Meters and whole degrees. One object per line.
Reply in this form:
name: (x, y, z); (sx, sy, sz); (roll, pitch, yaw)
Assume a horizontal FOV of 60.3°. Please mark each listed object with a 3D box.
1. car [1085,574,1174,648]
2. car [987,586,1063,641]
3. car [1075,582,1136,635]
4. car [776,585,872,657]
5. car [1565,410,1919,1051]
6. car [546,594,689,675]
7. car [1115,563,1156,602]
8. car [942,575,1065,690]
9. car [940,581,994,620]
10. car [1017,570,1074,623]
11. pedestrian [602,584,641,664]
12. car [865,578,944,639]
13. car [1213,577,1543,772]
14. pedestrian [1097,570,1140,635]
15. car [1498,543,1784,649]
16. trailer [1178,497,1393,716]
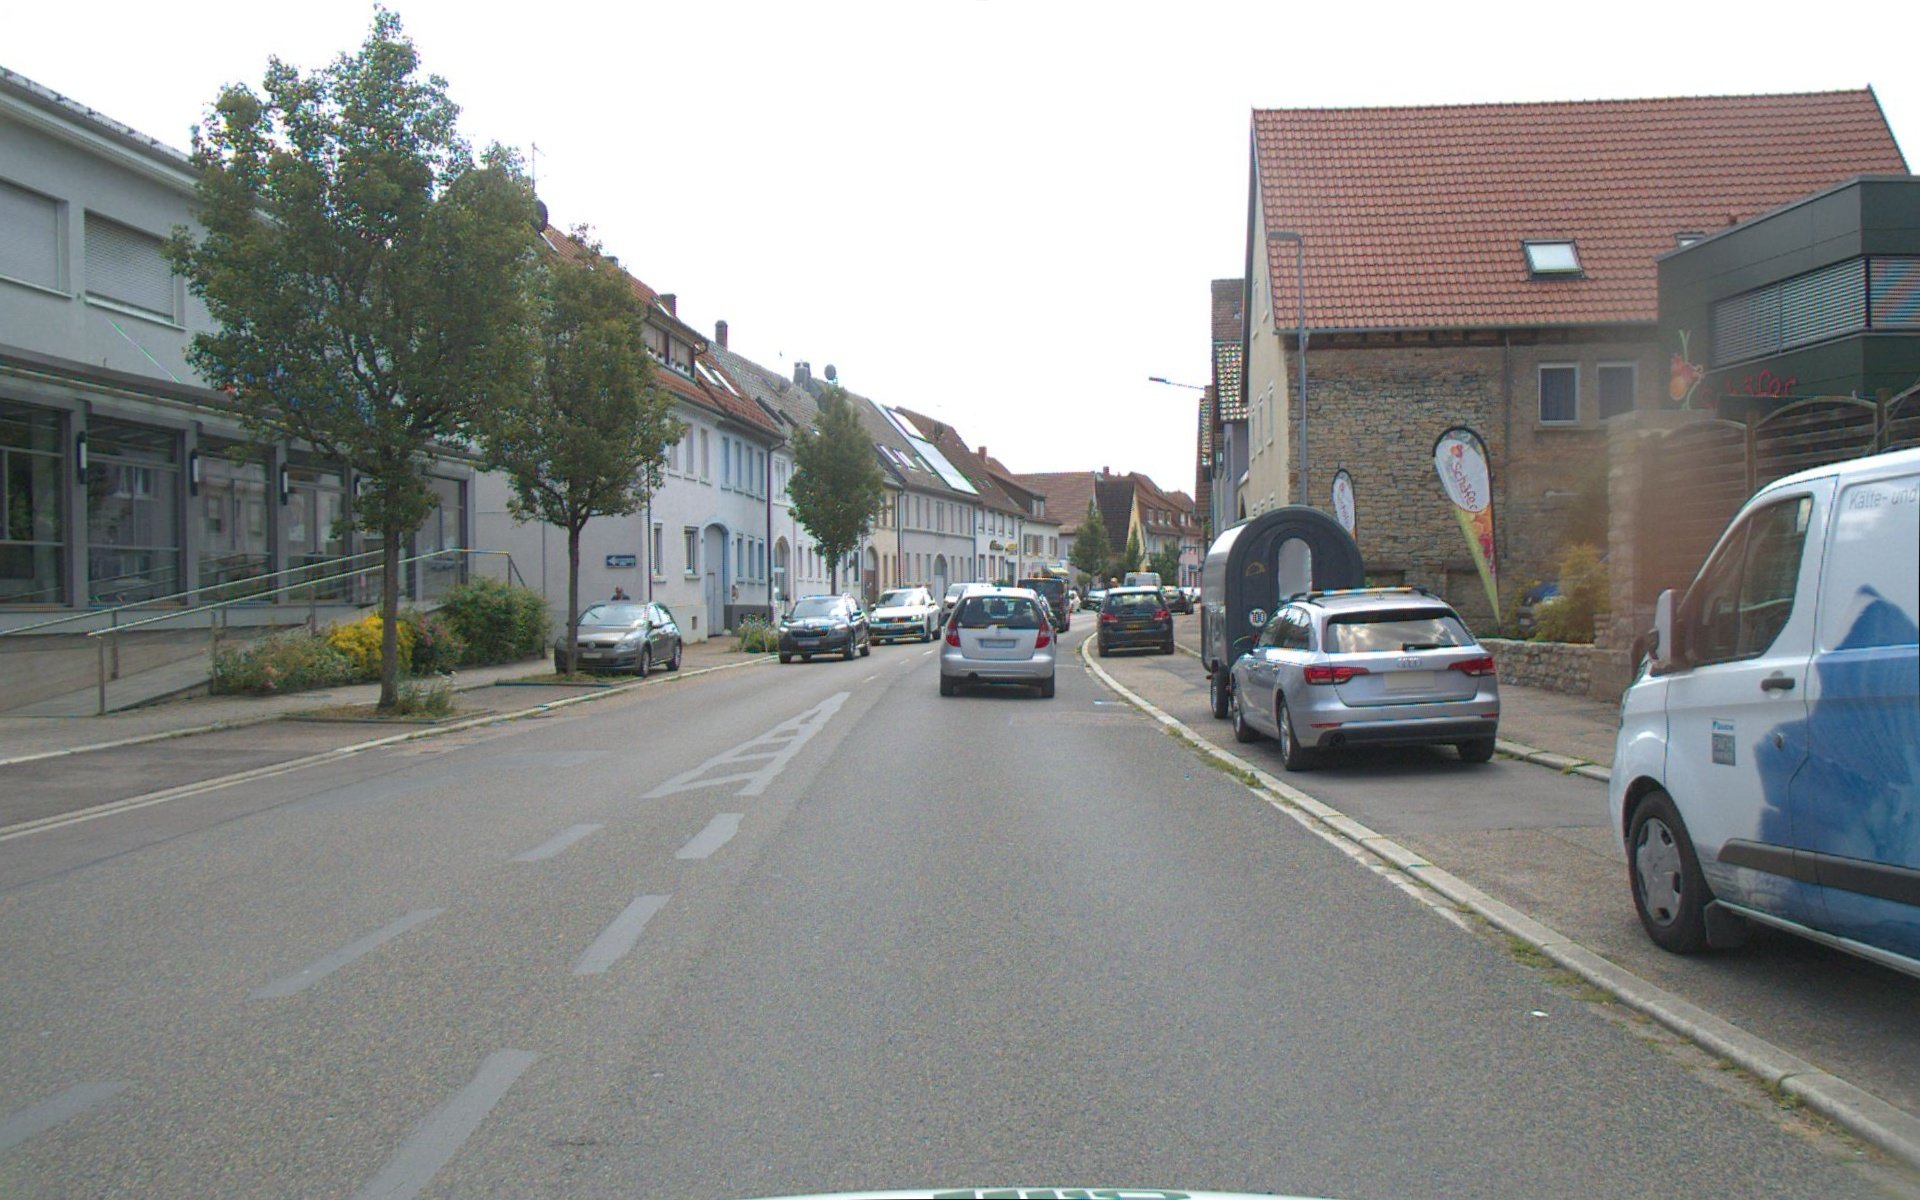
car: (4.073, 0.220, 39.452); (1.951, 1.586, 4.003); (-2, 0, 7)
car: (1.899, 0.377, 47.202); (1.904, 1.432, 4.002); (1, 0, 6)
car: (4.913, 0.291, 55.484); (1.821, 1.654, 4.200); (-2, 0, 7)
car: (-3.188, 0.460, 39.501); (1.707, 1.553, 4.021); (-2, 0, 3)
car: (3.915, 0.367, 5.510); (1.854, 2.016, 4.930); (-3, 0, -1)
car: (-6.722, 0.637, 32.922); (1.766, 1.486, 4.160); (0, 0, 3)
car: (10.900, -1.069, 102.657); (2.188, 2.261, 4.003); (-2, -1, 10)
car: (0.610, 0.480, 25.941); (1.733, 1.622, 3.999); (1, 0, -1)
car: (0.383, 0.025, 84.141); (2.047, 1.917, 4.004); (-1, 0, 10)
car: (3.313, -0.107, 63.355); (1.731, 1.921, 4.450); (1, 0, 8)
pedestrian: (-7.962, 0.565, 38.893); (0.724, 1.833, 0.642); (-2, -1, 1)
car: (-1.670, 0.221, 51.458); (1.913, 1.816, 4.655); (0, 1, 5)
car: (3.669, 0.578, 15.427); (1.837, 1.507, 4.674); (-1, 0, -1)
pedestrian: (4.644, 0.056, 48.414); (1.072, 1.853, 1.471); (-1, 0, 12)
car: (13.694, -0.096, 33.453); (4.950, 1.984, 1.999); (-1, 0, -3)
trailer: (3.884, 0.055, 20.321); (1.807, 2.395, 3.588); (-2, 0, -1)
